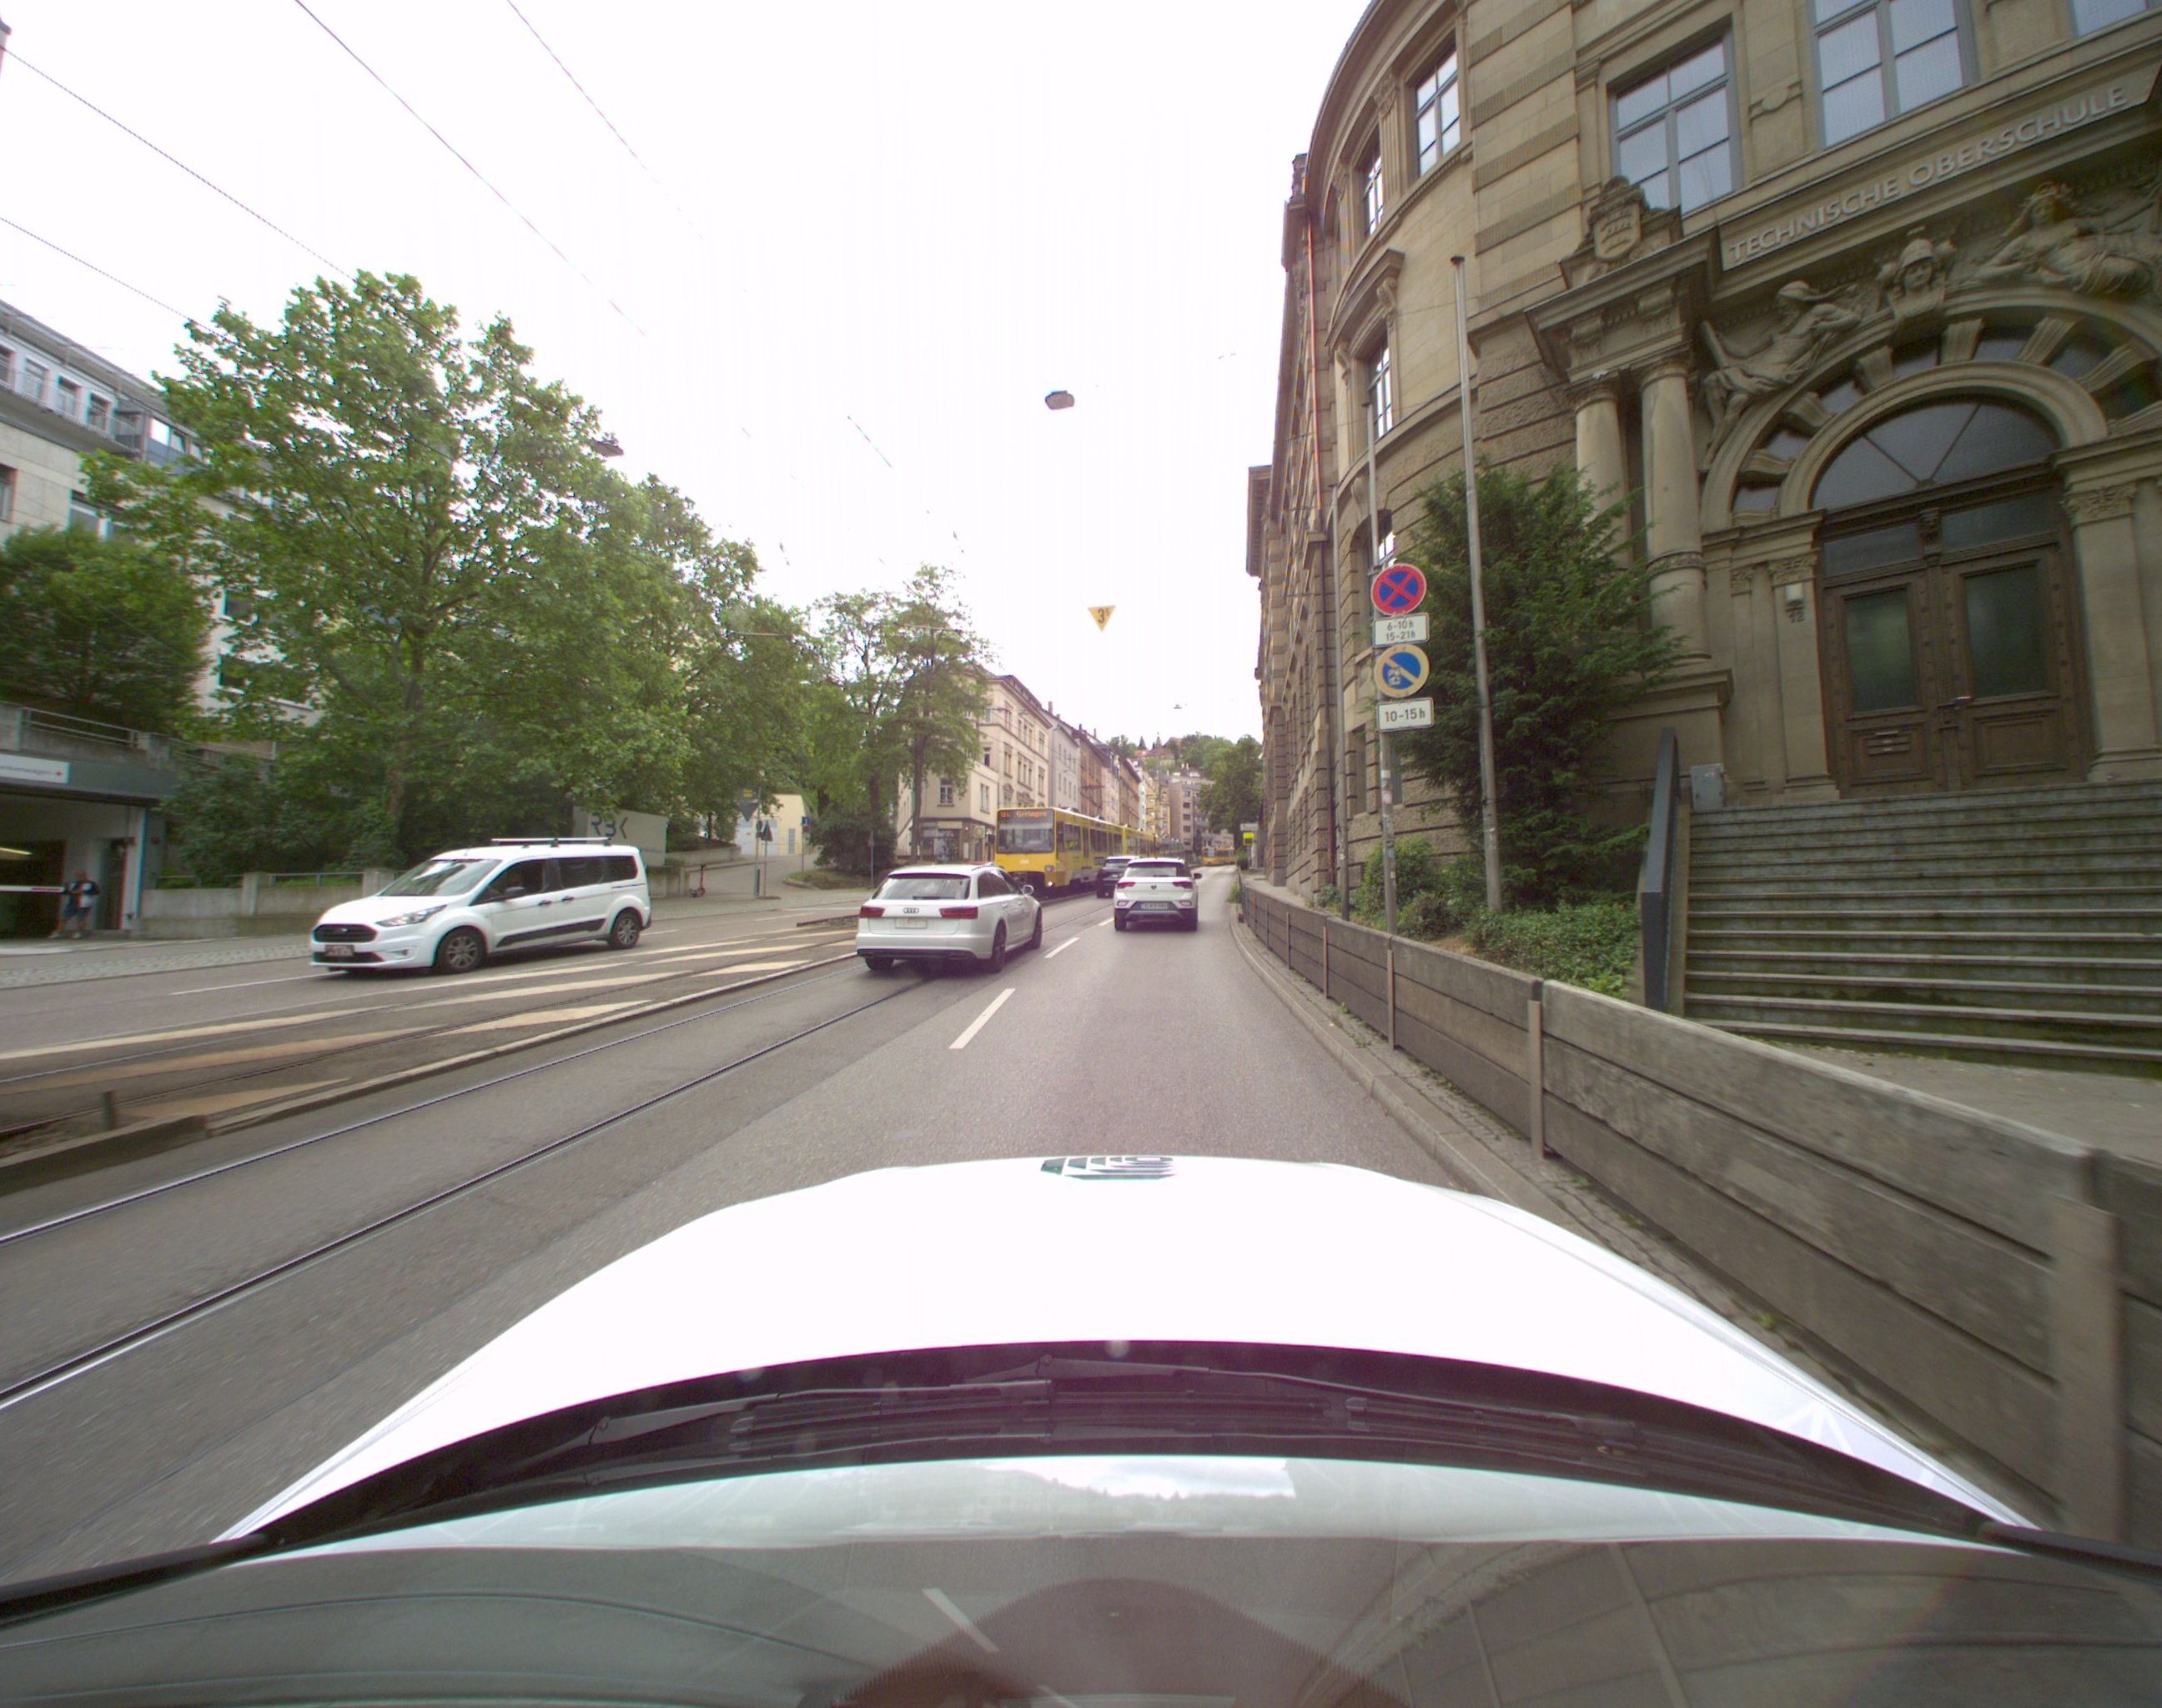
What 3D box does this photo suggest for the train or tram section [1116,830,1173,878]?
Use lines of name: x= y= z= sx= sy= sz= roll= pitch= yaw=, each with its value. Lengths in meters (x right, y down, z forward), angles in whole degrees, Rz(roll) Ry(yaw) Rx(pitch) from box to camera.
train or tram section: x=6.003 y=0.069 z=73.006 sx=2.858 sy=3.726 sz=18.813 roll=0 pitch=0 yaw=11

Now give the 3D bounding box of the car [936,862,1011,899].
car: x=-4.534 y=1.090 z=34.936 sx=1.981 sy=1.503 sz=4.012 roll=-1 pitch=-1 yaw=11

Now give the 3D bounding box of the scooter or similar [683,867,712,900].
scooter or similar: x=-14.546 y=1.095 z=30.922 sx=0.489 sy=1.219 sz=1.636 roll=2 pitch=-1 yaw=-9

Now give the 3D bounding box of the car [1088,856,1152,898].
car: x=1.683 y=0.892 z=33.373 sx=2.025 sy=1.571 sz=4.370 roll=-1 pitch=-1 yaw=10

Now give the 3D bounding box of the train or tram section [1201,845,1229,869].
train or tram section: x=25.438 y=0.532 z=153.491 sx=2.994 sy=4.214 sz=18.938 roll=-1 pitch=-1 yaw=16

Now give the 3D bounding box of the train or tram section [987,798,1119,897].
train or tram section: x=-0.733 y=-0.189 z=38.051 sx=2.864 sy=3.726 sz=14.900 roll=0 pitch=0 yaw=11

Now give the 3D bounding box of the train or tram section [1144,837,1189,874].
train or tram section: x=9.875 y=0.206 z=91.402 sx=2.857 sy=3.726 sz=18.819 roll=0 pitch=0 yaw=12

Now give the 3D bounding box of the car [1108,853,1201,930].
car: x=1.753 y=0.790 z=18.626 sx=1.869 sy=1.554 sz=4.008 roll=-1 pitch=-1 yaw=7

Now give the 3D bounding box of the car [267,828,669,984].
car: x=-9.066 y=0.665 z=12.796 sx=1.935 sy=1.946 sz=5.017 roll=-1 pitch=0 yaw=11

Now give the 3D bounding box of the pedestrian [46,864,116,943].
pedestrian: x=-25.071 y=1.223 z=20.426 sx=0.806 sy=1.911 sz=0.796 roll=-2 pitch=-1 yaw=11

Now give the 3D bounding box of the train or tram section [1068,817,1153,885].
train or tram section: x=2.430 y=-0.095 z=54.574 sx=2.858 sy=3.726 sz=18.757 roll=0 pitch=0 yaw=11

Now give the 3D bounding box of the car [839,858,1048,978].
car: x=-1.819 y=0.798 z=12.431 sx=1.869 sy=1.455 sz=4.627 roll=0 pitch=0 yaw=7
